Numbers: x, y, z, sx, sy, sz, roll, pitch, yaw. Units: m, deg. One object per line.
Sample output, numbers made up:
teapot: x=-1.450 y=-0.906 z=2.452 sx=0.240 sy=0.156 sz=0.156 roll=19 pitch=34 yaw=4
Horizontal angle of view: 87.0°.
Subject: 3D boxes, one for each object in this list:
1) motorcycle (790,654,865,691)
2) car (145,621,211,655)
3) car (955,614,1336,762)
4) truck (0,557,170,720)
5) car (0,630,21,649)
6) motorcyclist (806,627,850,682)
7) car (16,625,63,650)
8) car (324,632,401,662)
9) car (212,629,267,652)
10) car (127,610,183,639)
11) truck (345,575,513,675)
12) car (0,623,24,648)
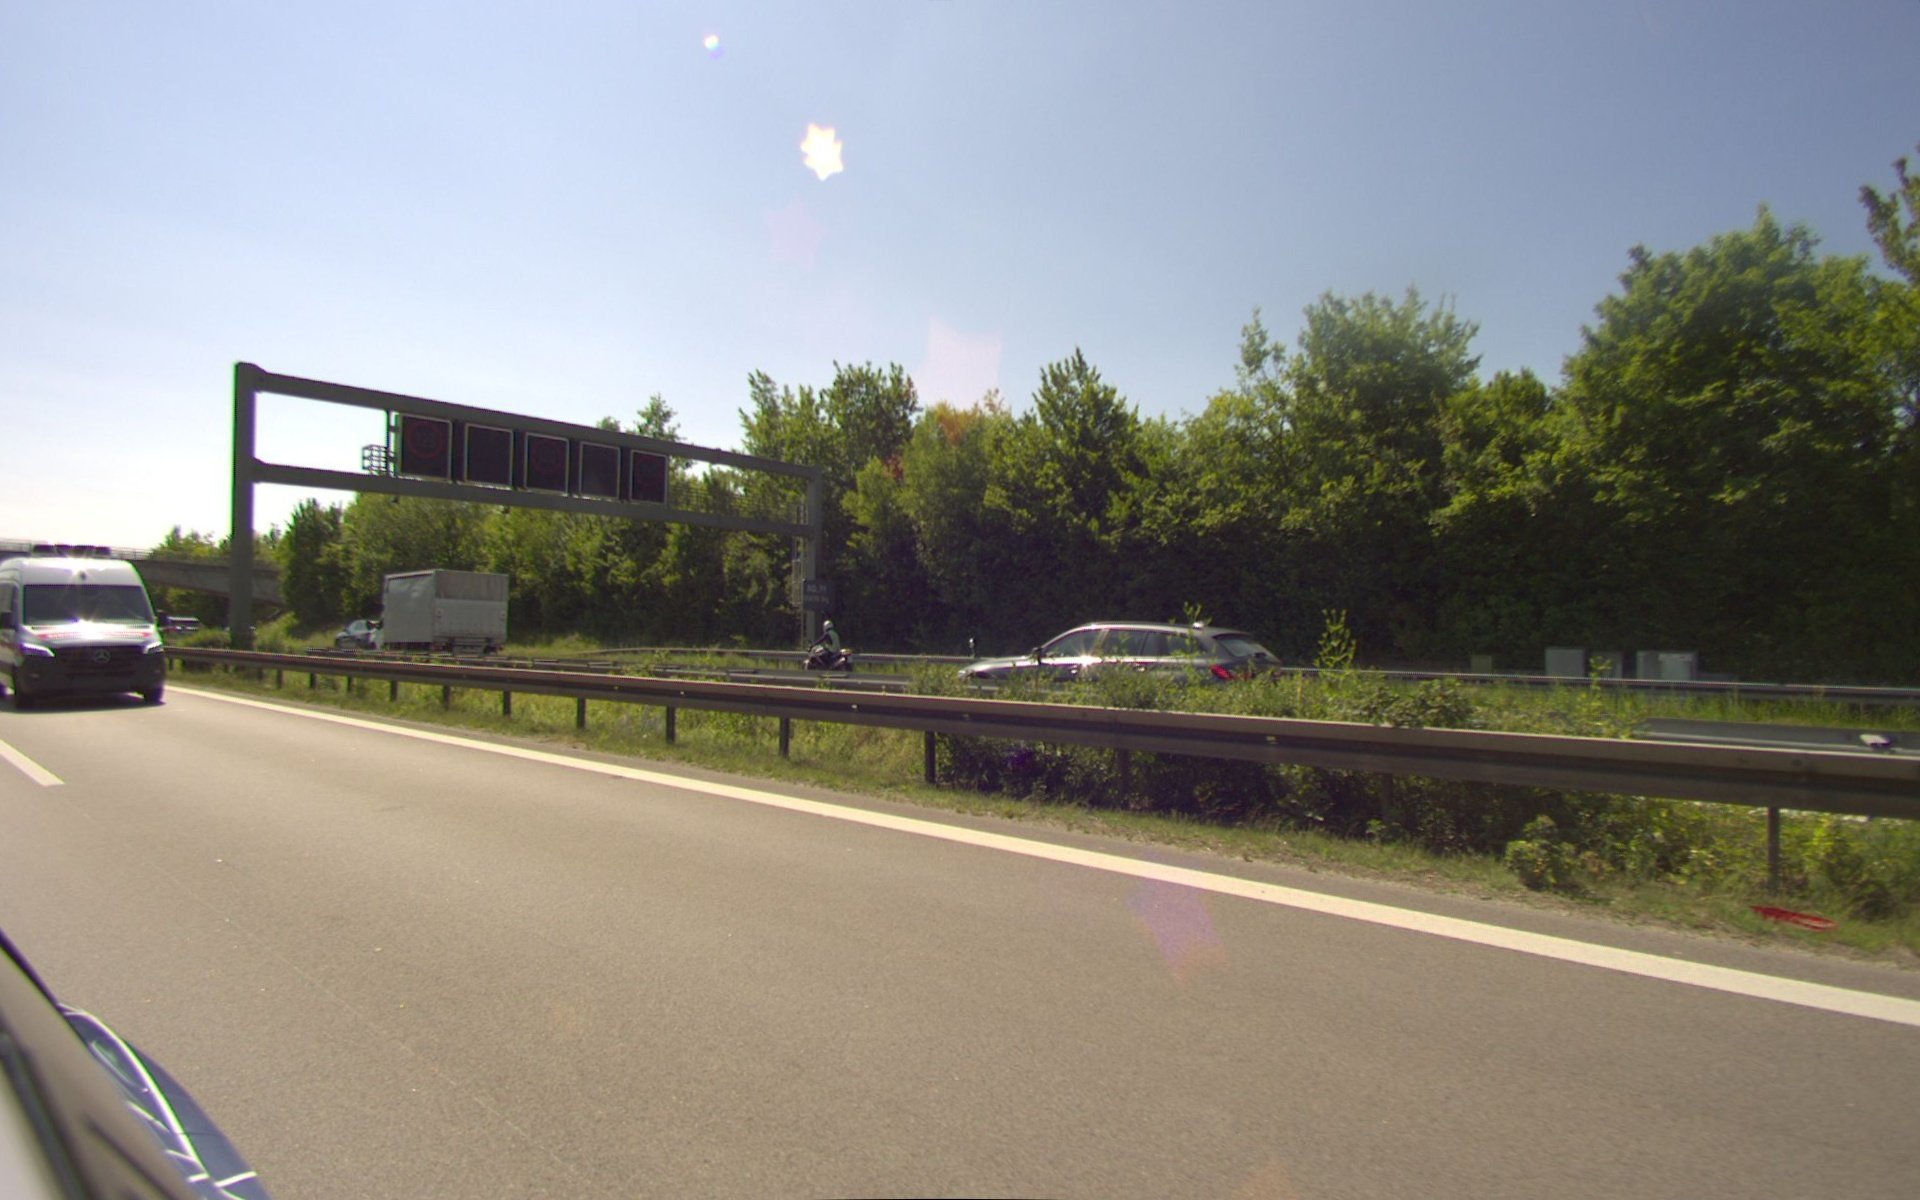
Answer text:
motorcycle: x=-3.688 y=1.990 z=28.082 sx=2.221 sy=0.953 sz=0.797 roll=-1 pitch=-3 yaw=41
car: x=-38.340 y=1.876 z=49.585 sx=4.058 sy=1.630 sz=1.760 roll=-2 pitch=-3 yaw=41
car: x=2.295 y=1.032 z=13.322 sx=4.590 sy=1.610 sz=1.973 roll=-1 pitch=-3 yaw=41
truck: x=-16.733 y=0.694 z=18.869 sx=6.688 sy=2.562 sz=1.973 roll=-2 pitch=-2 yaw=41
car: x=-83.514 y=3.436 z=88.222 sx=4.853 sy=1.533 sz=1.815 roll=-1 pitch=-5 yaw=41
motorcyclist: x=-3.664 y=1.500 z=28.085 sx=0.931 sy=1.511 sz=0.797 roll=-2 pitch=-3 yaw=41
car: x=-68.471 y=2.765 z=75.247 sx=5.194 sy=1.720 sz=1.886 roll=-1 pitch=-5 yaw=41
car: x=-30.678 y=2.378 z=51.904 sx=5.062 sy=1.476 sz=1.882 roll=-1 pitch=-3 yaw=41
car: x=-48.305 y=2.688 z=67.828 sx=4.530 sy=1.453 sz=1.973 roll=0 pitch=-2 yaw=41
car: x=-53.343 y=1.601 z=67.022 sx=5.124 sy=1.818 sz=1.972 roll=0 pitch=-2 yaw=41
truck: x=-19.903 y=0.896 z=37.691 sx=8.053 sy=3.330 sz=2.750 roll=0 pitch=-2 yaw=41
car: x=-114.724 y=4.249 z=121.372 sx=6.988 sy=2.992 sz=2.521 roll=-1 pitch=-3 yaw=38
